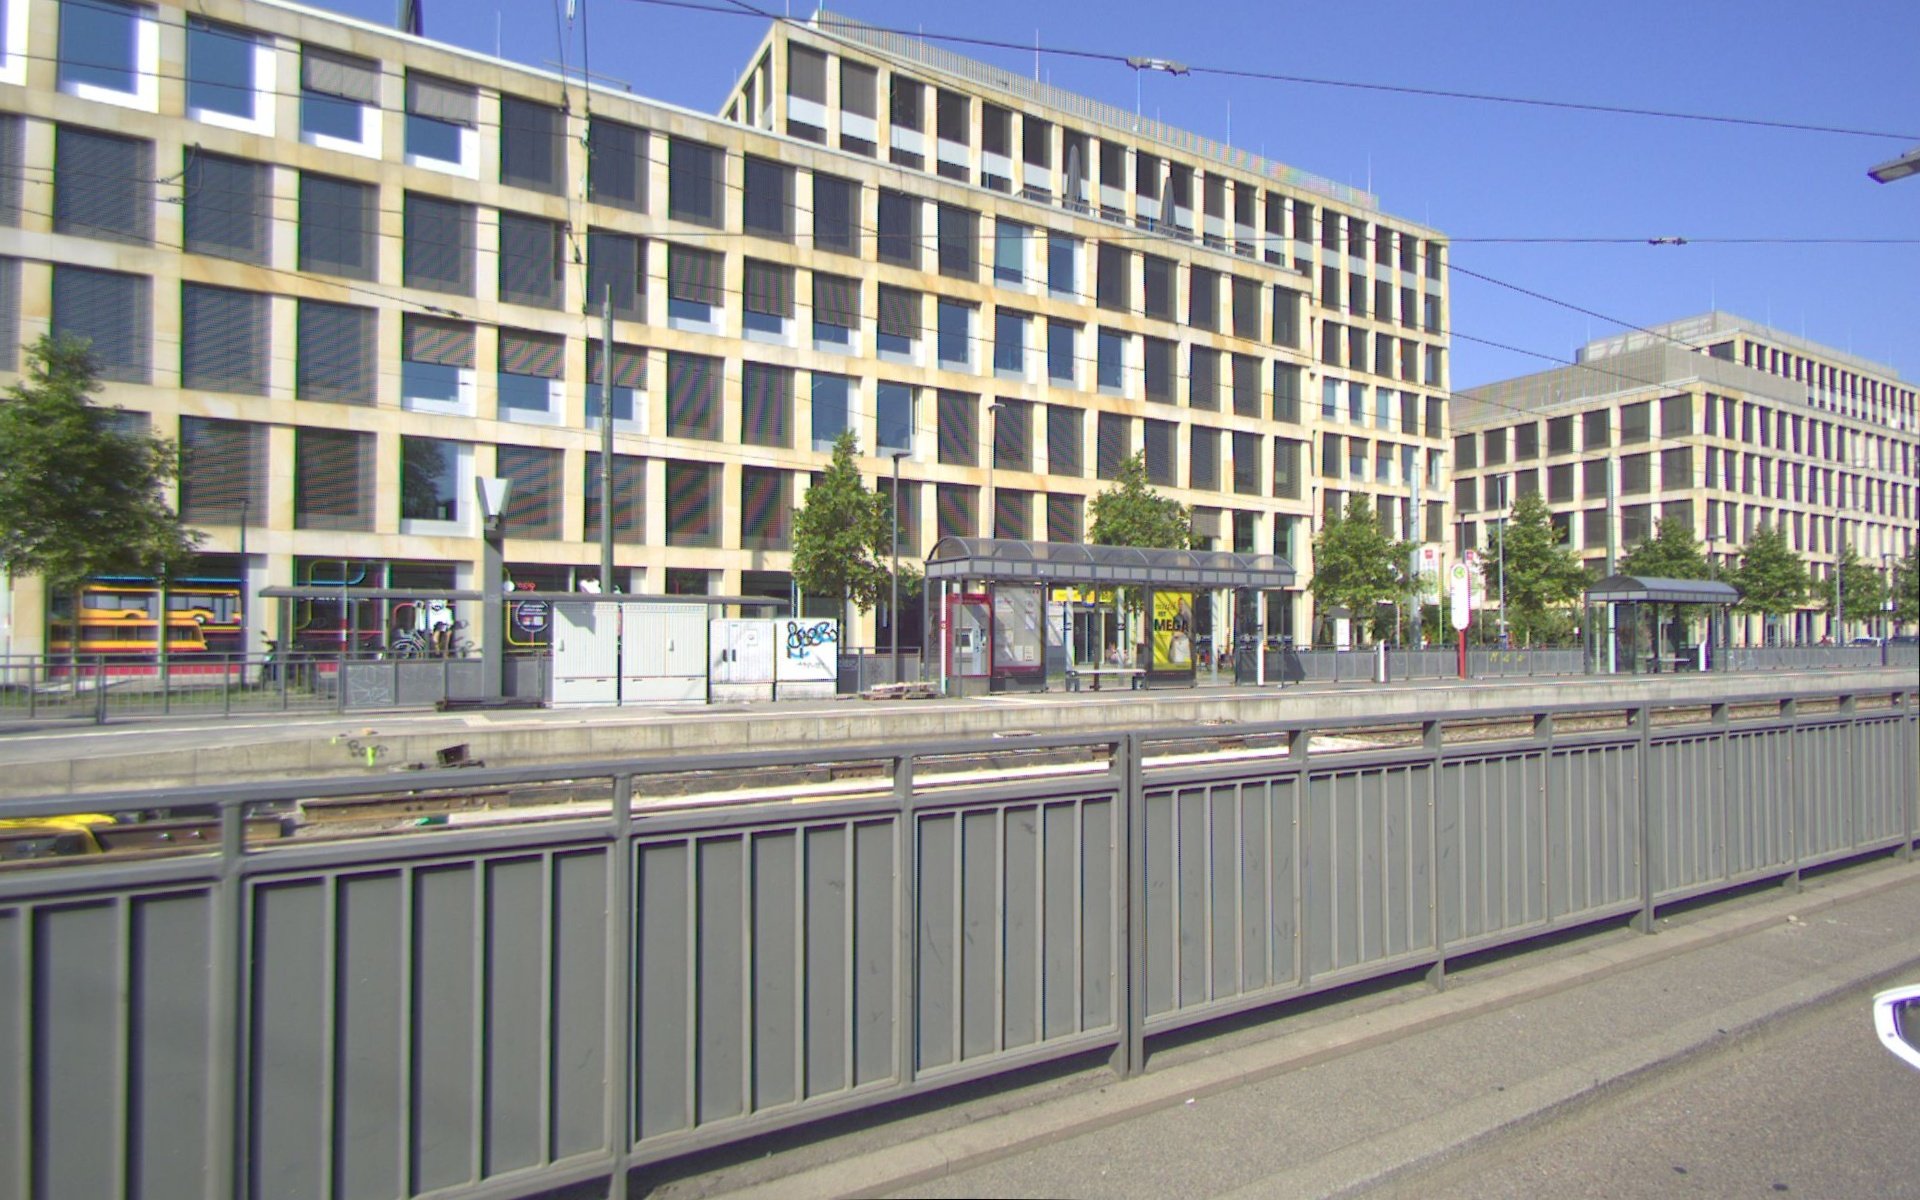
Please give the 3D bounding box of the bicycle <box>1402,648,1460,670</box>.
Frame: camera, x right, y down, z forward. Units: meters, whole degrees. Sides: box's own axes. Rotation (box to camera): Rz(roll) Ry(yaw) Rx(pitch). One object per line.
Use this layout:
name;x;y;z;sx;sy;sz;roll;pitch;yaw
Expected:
bicycle;21.973;2.748;46.953;0.812;0.999;2.422;1;-2;-30

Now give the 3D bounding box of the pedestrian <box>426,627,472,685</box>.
pedestrian;-14.676;1.586;28.844;1.110;1.618;0.972;1;-2;-30

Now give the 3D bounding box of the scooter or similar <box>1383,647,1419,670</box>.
scooter or similar;19.744;2.592;44.967;0.390;0.999;1.515;1;-2;-30

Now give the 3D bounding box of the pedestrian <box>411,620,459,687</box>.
pedestrian;-14.451;1.462;27.654;1.110;1.775;0.972;1;-2;-30
